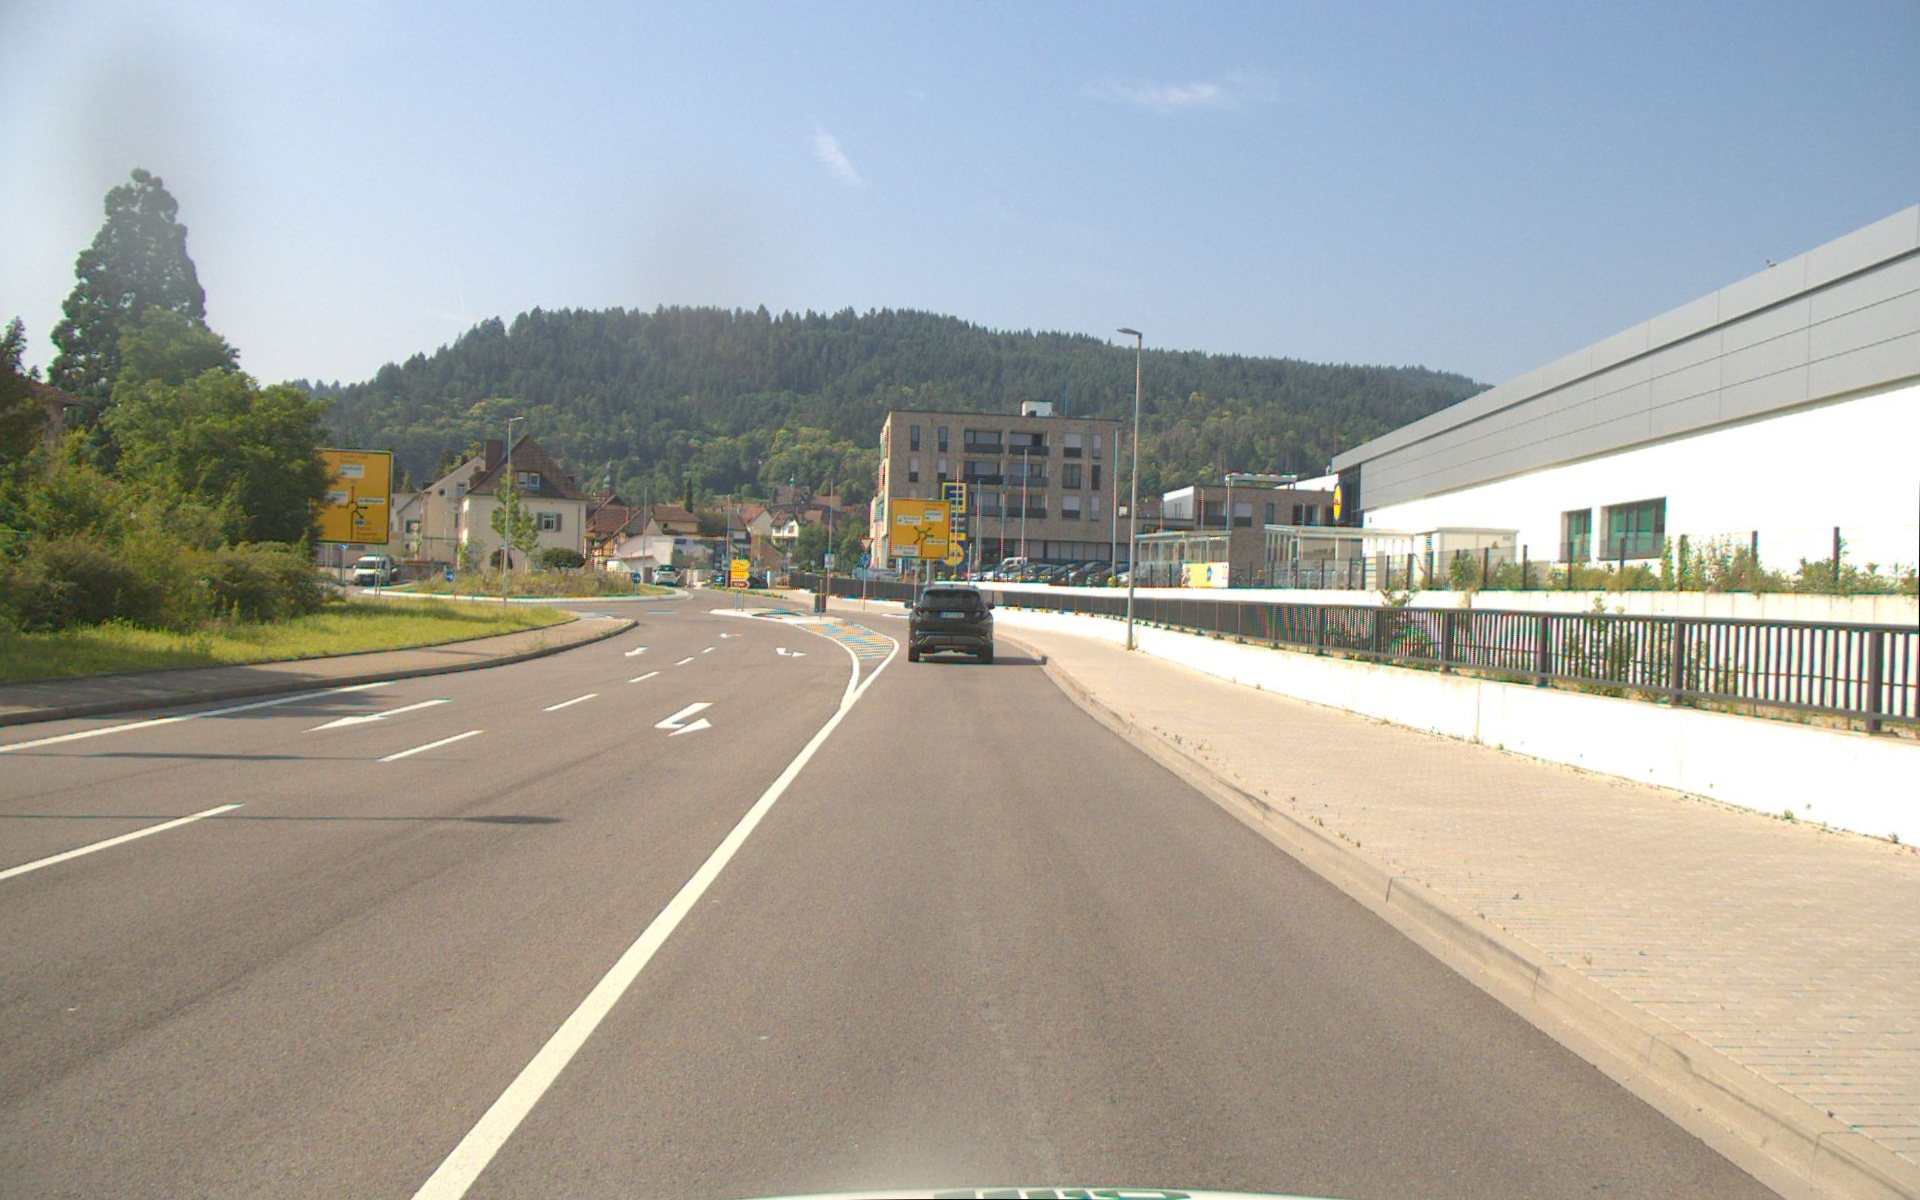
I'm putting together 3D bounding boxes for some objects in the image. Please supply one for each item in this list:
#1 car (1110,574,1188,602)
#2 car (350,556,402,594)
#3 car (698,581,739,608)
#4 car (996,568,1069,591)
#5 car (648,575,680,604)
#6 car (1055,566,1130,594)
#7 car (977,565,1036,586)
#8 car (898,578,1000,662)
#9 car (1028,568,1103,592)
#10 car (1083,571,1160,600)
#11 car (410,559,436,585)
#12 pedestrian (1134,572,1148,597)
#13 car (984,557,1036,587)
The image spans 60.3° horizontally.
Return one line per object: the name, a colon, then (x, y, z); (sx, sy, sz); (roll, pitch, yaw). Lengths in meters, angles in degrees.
car: (10.110, -0.642, 88.536); (3.749, 1.388, 1.671); (2, 1, -20)
car: (-37.699, -1.638, 106.891); (1.770, 2.113, 4.605); (3, 3, -1)
car: (-18.974, -0.453, 129.966); (1.951, 2.049, 4.003); (1, 0, 11)
car: (4.523, -1.254, 103.422); (4.214, 1.267, 1.655); (2, 1, -20)
car: (-21.471, -0.768, 120.137); (1.955, 2.049, 3.994); (1, 0, -7)
car: (7.622, -1.131, 95.003); (3.945, 1.428, 1.715); (2, 1, -20)
car: (3.035, -1.614, 109.122); (3.502, 1.220, 1.705); (2, 1, -19)
car: (-0.302, 0.414, 36.562); (1.845, 1.713, 3.994); (1, 0, -6)
car: (6.295, -1.205, 98.905); (4.150, 1.267, 1.734); (2, 1, -20)
car: (8.937, -0.801, 91.456); (4.001, 1.428, 1.478); (2, 1, -20)
car: (-44.931, -2.375, 138.362); (1.784, 2.048, 3.975); (1, 1, -21)
pedestrian: (9.519, -0.815, 86.989); (0.538, 1.335, 0.653); (1, 0, -17)
car: (3.794, -2.124, 124.819); (3.904, 2.173, 2.001); (1, 0, 2)
